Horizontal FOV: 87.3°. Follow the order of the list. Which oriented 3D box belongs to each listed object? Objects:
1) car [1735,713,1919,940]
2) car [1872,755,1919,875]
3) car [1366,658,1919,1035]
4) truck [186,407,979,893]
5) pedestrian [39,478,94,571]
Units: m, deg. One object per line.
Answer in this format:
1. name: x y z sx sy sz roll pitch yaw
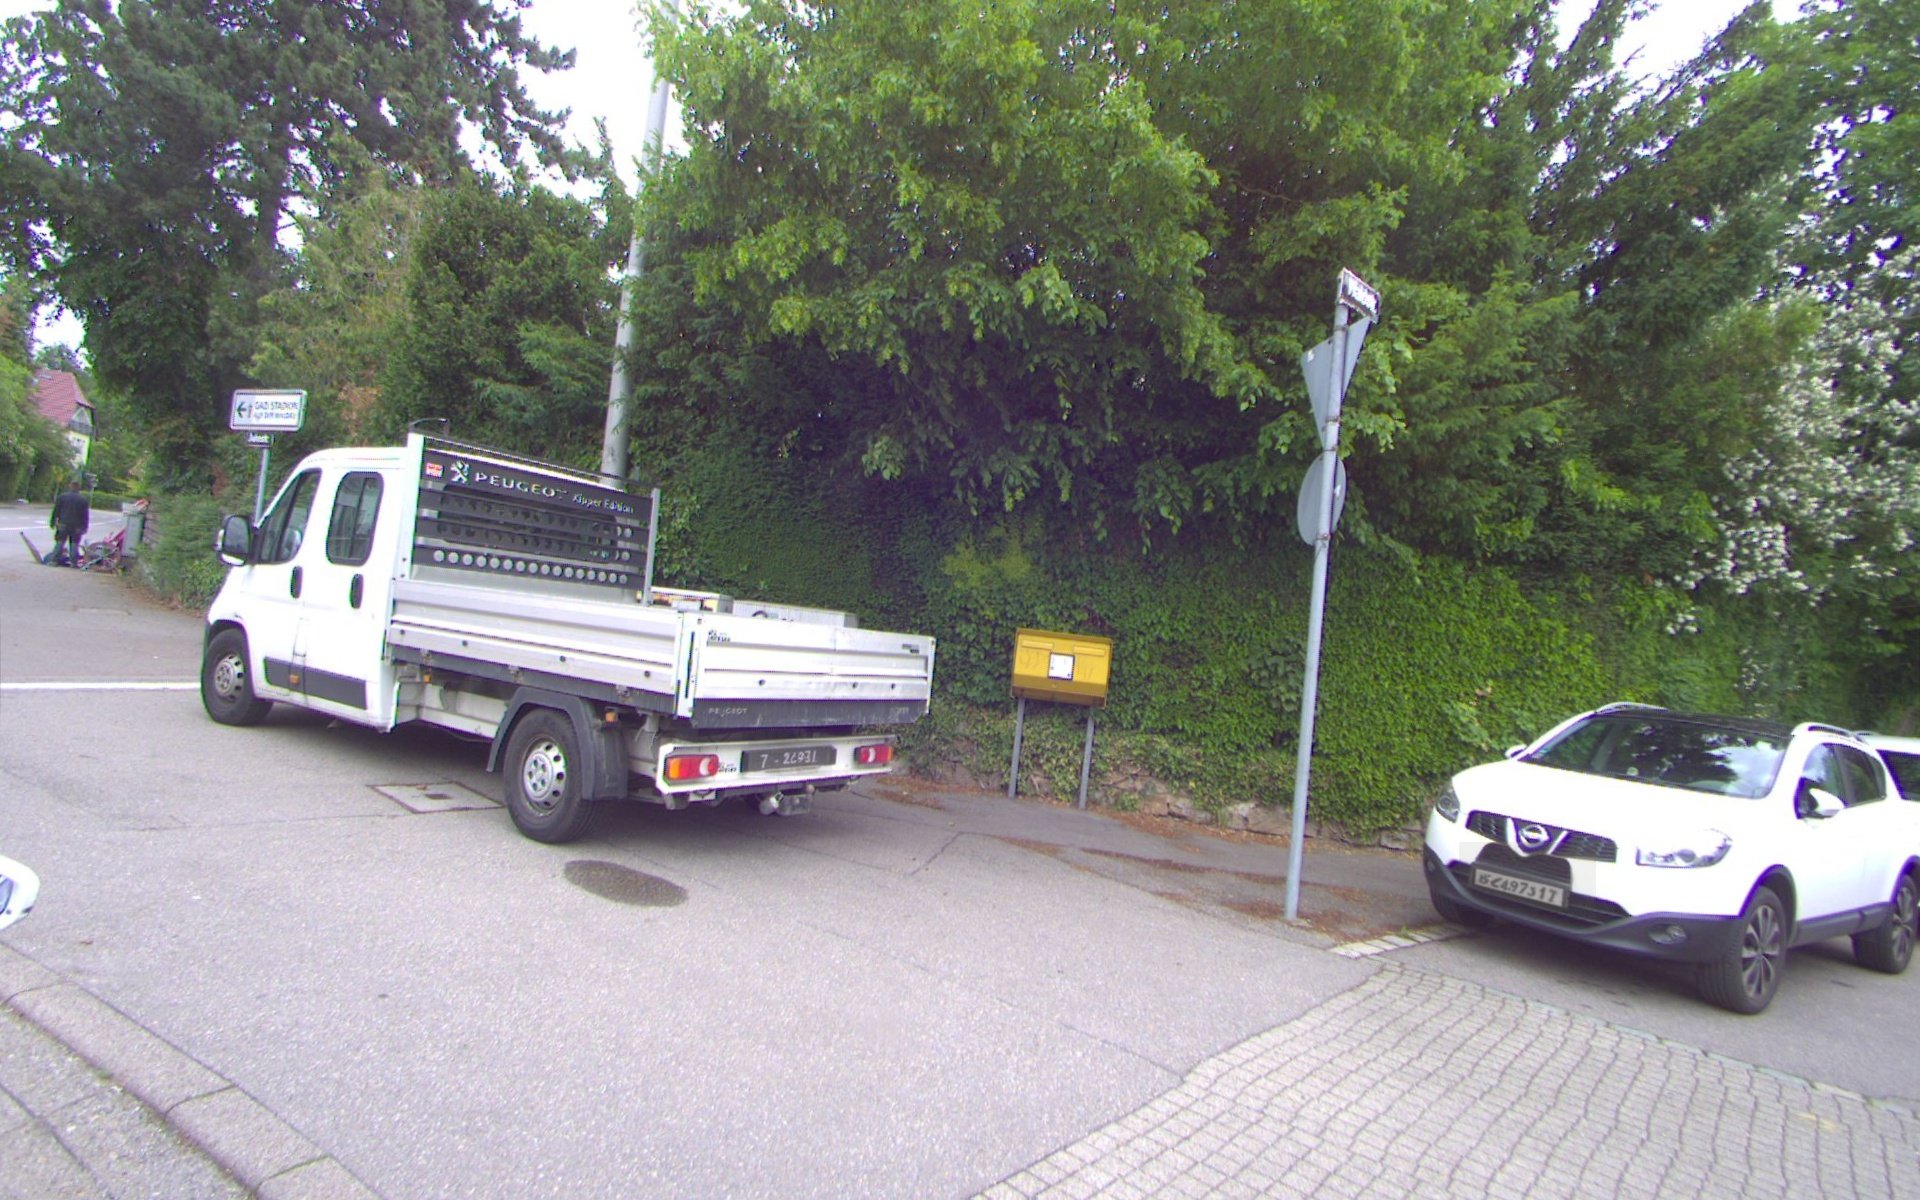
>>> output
1. car: 9.046 2.113 9.463 4.041 1.641 1.781 9 -3 -38
2. car: 13.896 2.979 13.489 4.040 1.440 1.781 8 -2 -38
3. car: 4.767 1.468 6.650 4.098 1.641 1.783 9 -2 -34
4. truck: -2.933 0.083 7.155 5.631 2.270 2.211 6 -2 34
5. pedestrian: -19.630 -1.662 22.108 0.549 1.929 0.597 7 -1 32
